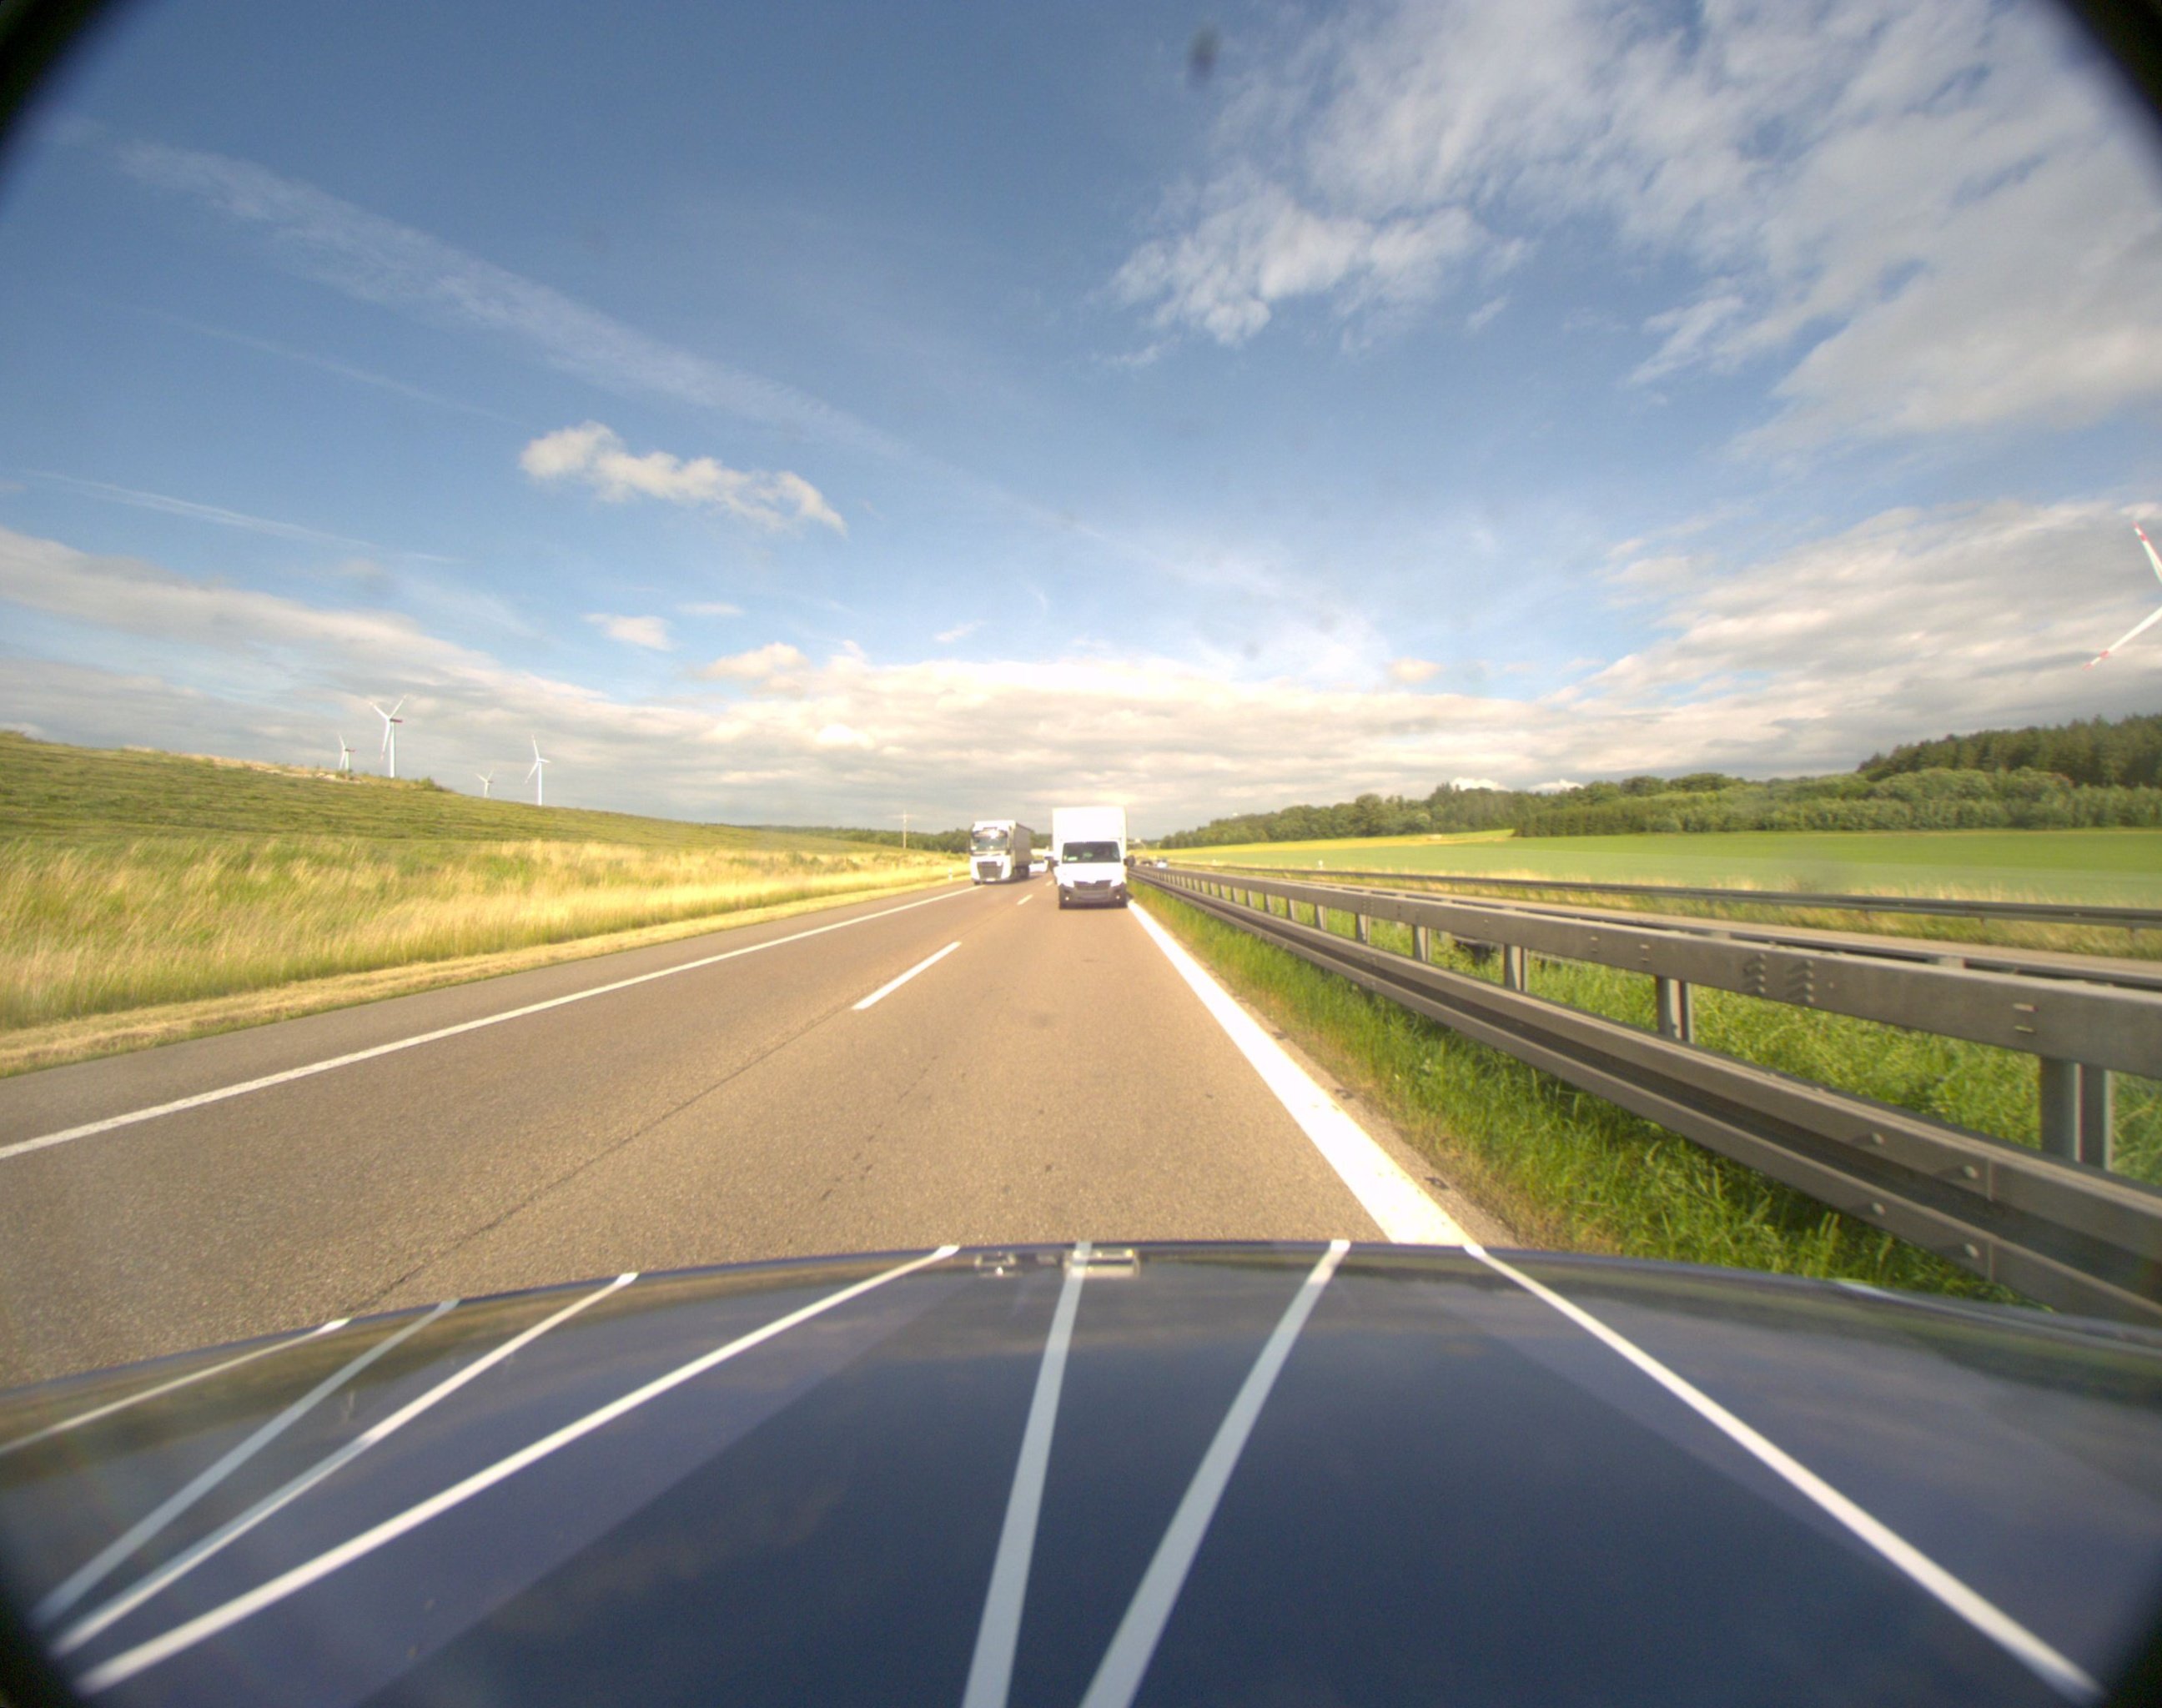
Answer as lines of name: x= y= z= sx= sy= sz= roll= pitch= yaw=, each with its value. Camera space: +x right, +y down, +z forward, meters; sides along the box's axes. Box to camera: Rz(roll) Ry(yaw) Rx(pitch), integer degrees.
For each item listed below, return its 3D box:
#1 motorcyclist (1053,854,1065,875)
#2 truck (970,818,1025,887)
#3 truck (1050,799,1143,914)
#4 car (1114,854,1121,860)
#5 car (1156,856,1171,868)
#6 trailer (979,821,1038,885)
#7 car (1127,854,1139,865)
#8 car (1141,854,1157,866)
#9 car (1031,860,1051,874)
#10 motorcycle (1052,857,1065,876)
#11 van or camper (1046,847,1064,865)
motorcyclist: x=-1.759 y=0.843 z=60.250 sx=0.898 sy=1.608 sz=1.022 roll=-1 pitch=1 yaw=0
truck: x=-5.283 y=-0.070 z=49.032 sx=2.607 sy=4.017 sz=6.120 roll=-3 pitch=0 yaw=1
truck: x=0.429 y=0.105 z=26.781 sx=2.502 sy=3.141 sz=11.163 roll=-1 pitch=0 yaw=0
car: x=10.360 y=0.895 z=213.805 sx=1.754 sy=1.594 sz=4.265 roll=-1 pitch=1 yaw=0
car: x=12.375 y=1.193 z=114.383 sx=1.739 sy=1.579 sz=4.116 roll=-1 pitch=1 yaw=1
trailer: x=-5.128 y=-0.033 z=56.590 sx=2.623 sy=4.016 sz=13.700 roll=-3 pitch=0 yaw=1
car: x=9.160 y=1.008 z=134.605 sx=1.827 sy=1.759 sz=4.363 roll=-1 pitch=1 yaw=1
car: x=8.656 y=0.740 z=97.169 sx=1.601 sy=1.506 sz=4.159 roll=-1 pitch=1 yaw=1
car: x=-4.439 y=1.471 z=85.385 sx=1.871 sy=1.409 sz=4.461 roll=-1 pitch=1 yaw=1
motorcycle: x=-1.761 y=0.962 z=60.234 sx=0.898 sy=1.447 sz=2.269 roll=-1 pitch=1 yaw=0
van or camper: x=-3.687 y=0.239 z=108.670 sx=2.102 sy=2.530 sz=6.412 roll=-1 pitch=1 yaw=1
